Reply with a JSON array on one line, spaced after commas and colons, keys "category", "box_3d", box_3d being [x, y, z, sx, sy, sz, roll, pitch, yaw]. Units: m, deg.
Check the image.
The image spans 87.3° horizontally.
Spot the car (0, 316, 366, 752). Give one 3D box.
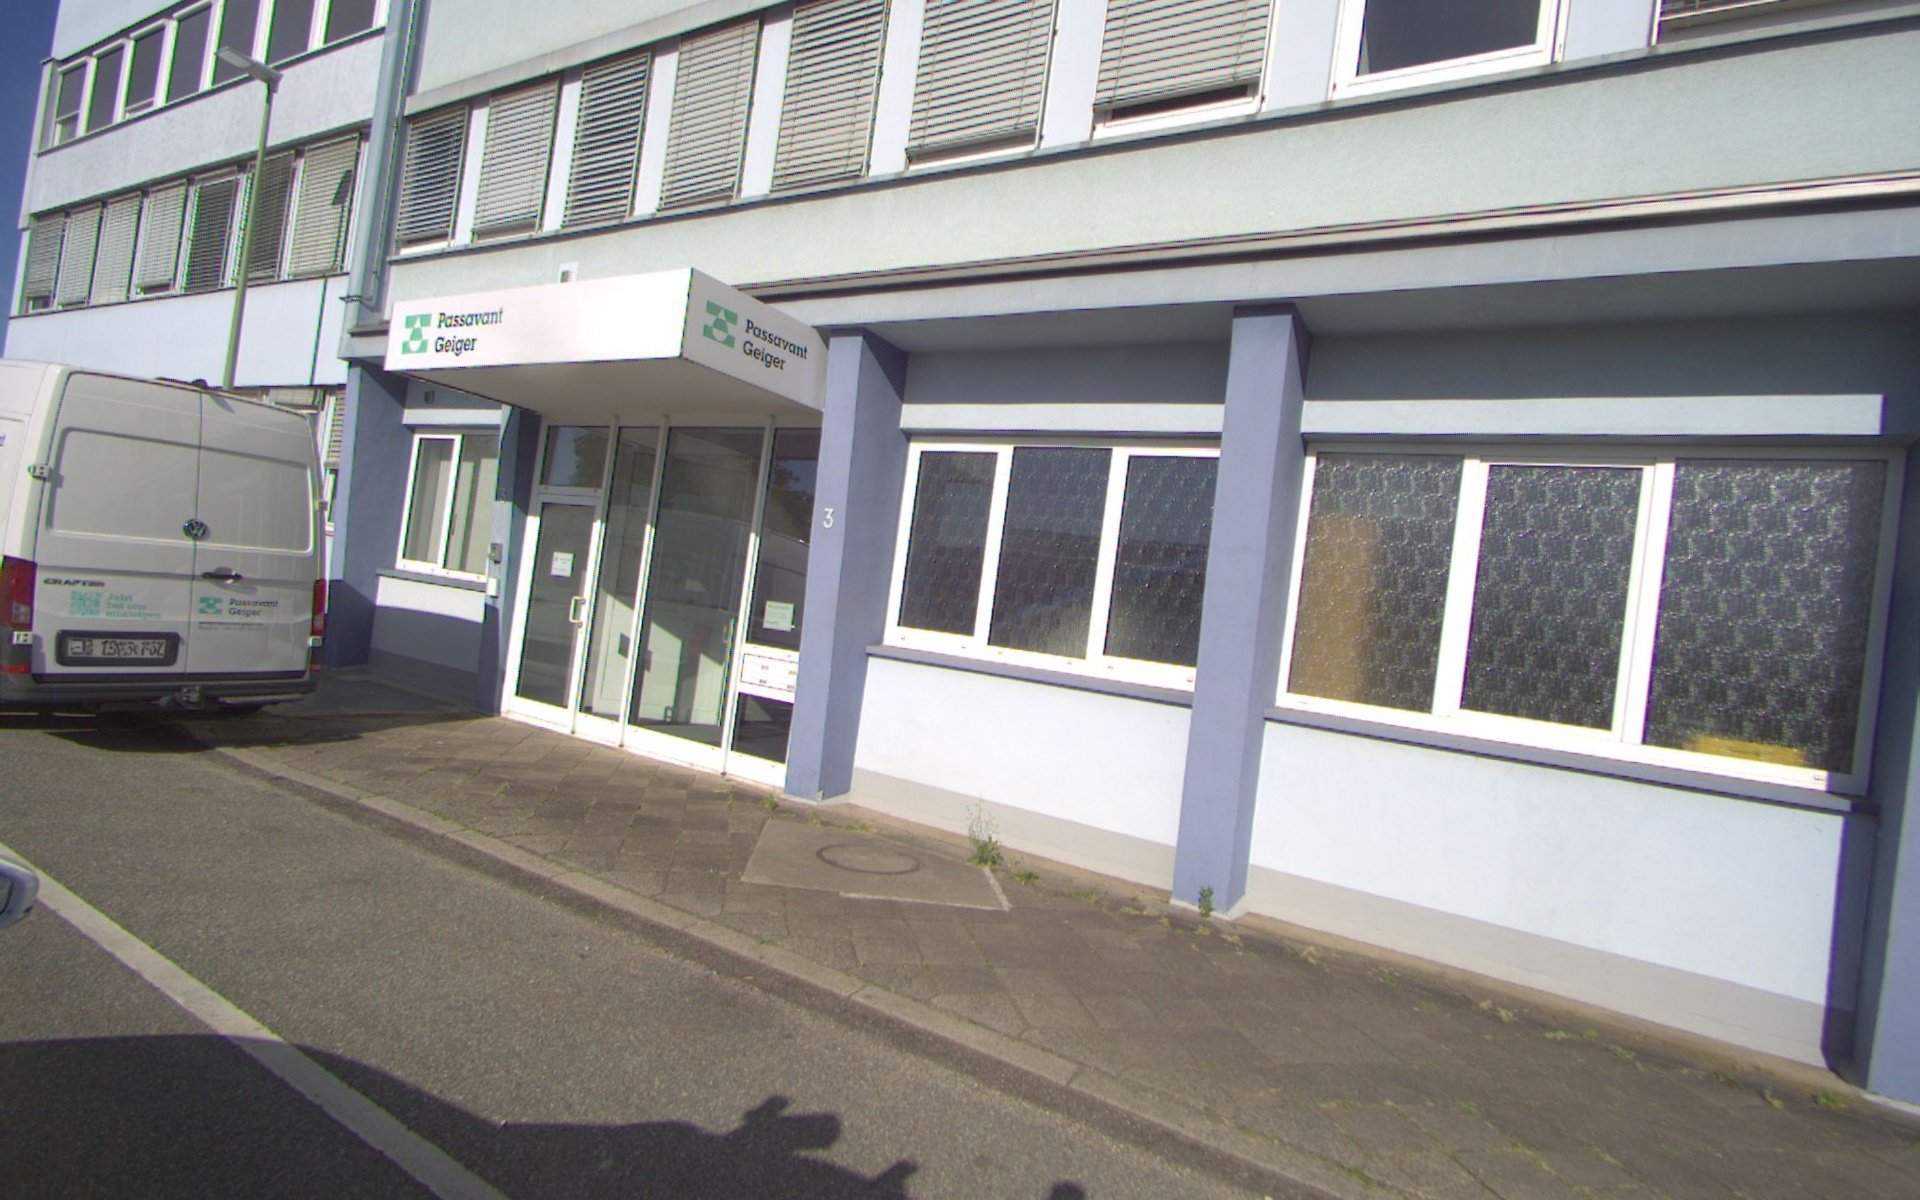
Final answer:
[{"category": "car", "box_3d": [-7.748, -0.658, 8.407, 5.949, 2.630, 1.996, 8, 1, 31]}]
